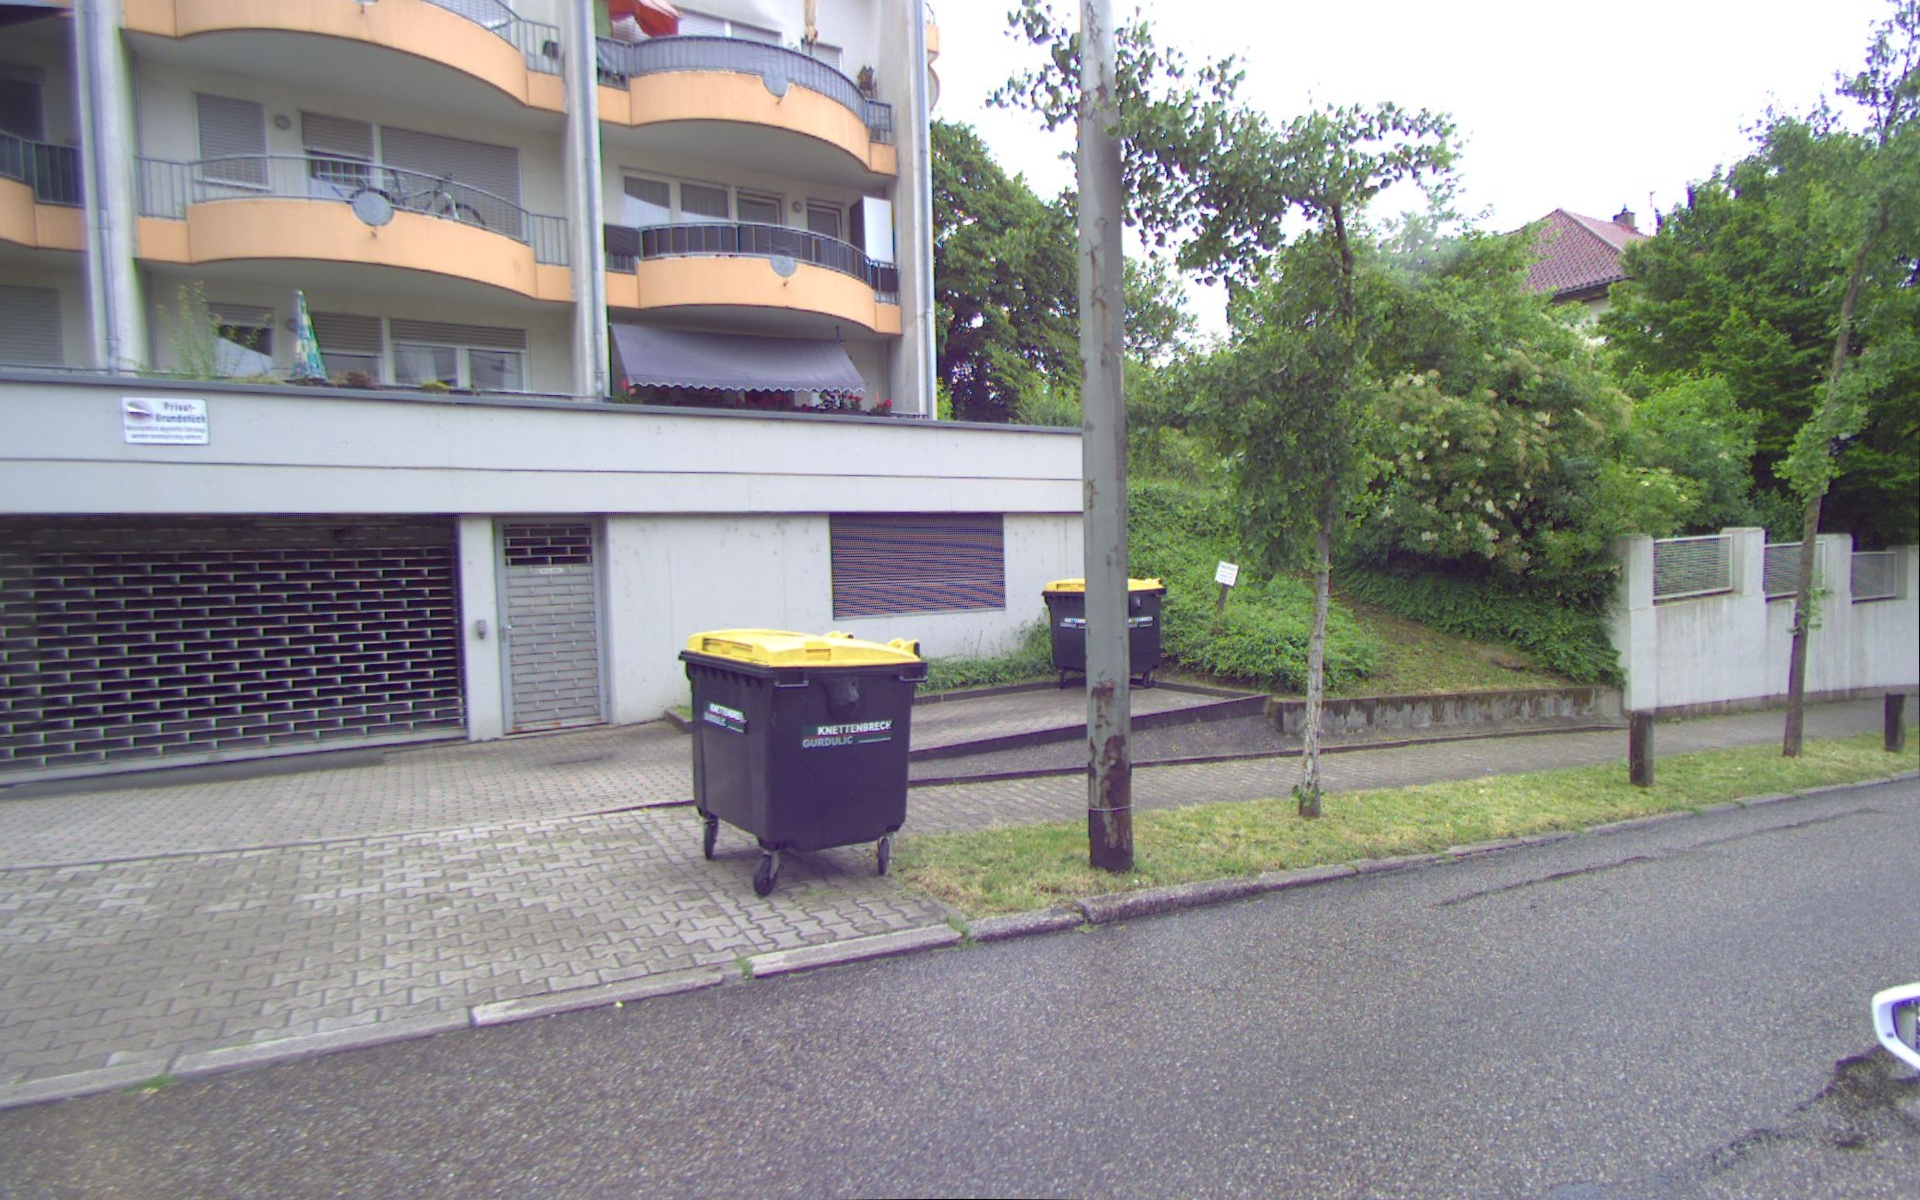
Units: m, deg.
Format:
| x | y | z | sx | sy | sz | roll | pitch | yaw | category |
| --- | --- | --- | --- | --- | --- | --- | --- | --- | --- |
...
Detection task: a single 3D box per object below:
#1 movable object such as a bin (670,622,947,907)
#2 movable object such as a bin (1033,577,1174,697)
| x | y | z | sx | sy | sz | roll | pitch | yaw | category |
| --- | --- | --- | --- | --- | --- | --- | --- | --- | --- |
| -0.893 | 0.834 | 5.799 | 1.113 | 1.368 | 1.213 | 1 | 1 | -38 | movable object such as a bin |
| 1.748 | 0.408 | 12.293 | 1.152 | 1.333 | 1.252 | -3 | 3 | -38 | movable object such as a bin |
